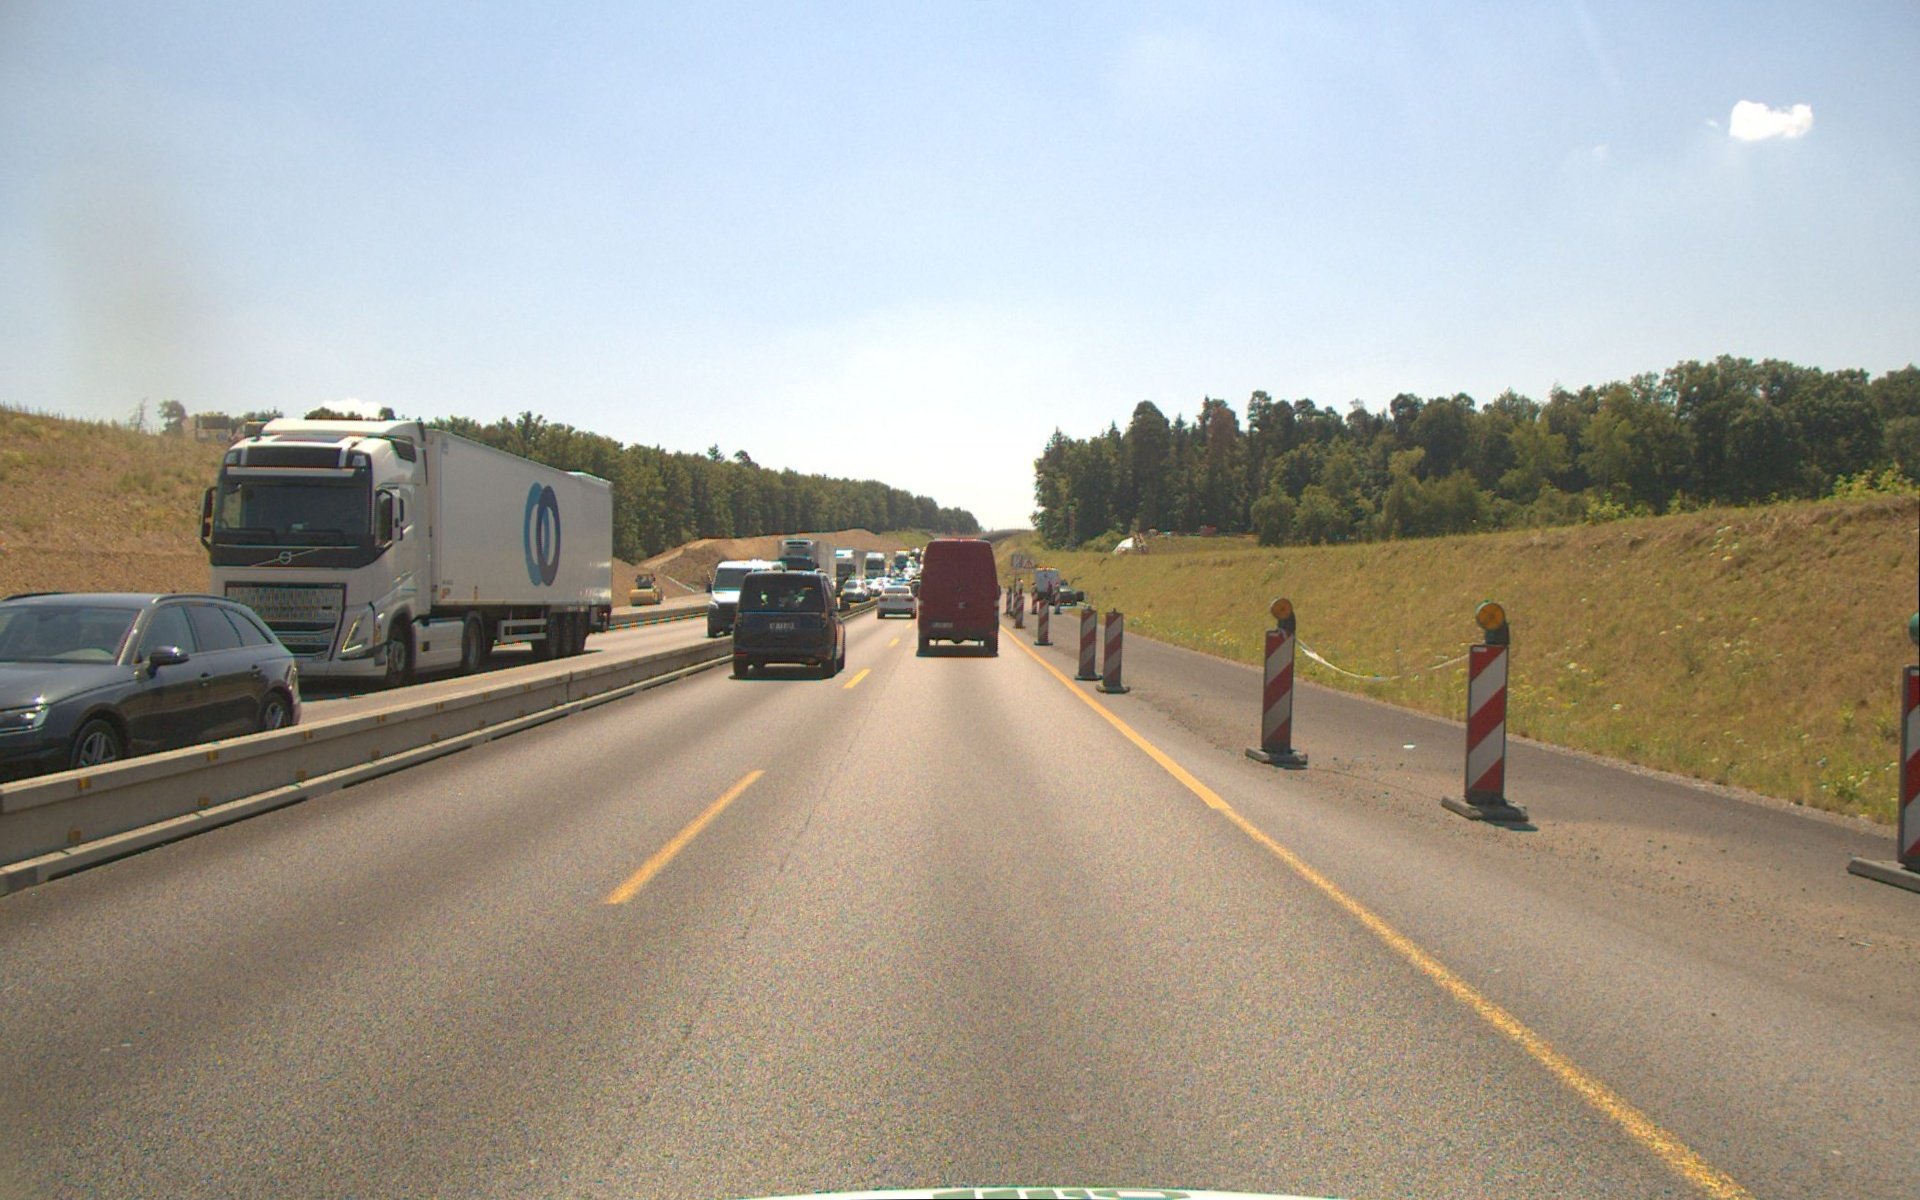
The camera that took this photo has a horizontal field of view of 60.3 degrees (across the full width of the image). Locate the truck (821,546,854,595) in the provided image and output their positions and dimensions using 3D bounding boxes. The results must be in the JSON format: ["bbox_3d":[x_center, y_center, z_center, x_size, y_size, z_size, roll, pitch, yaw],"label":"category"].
[{"bbox_3d":[-10.681,-2.548,144.051,2.539,4.124,5.149,1,1,-1],"label":"truck"}]

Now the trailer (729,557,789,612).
[{"bbox_3d":[-10.390,-0.809,85.985,2.264,2.733,6.755,-1,1,-1],"label":"trailer"}]

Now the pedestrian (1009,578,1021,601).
[{"bbox_3d":[4.387,-0.829,130.894,0.713,1.860,0.715,1,0,-20],"label":"pedestrian"}]

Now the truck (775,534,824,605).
[{"bbox_3d":[-9.905,-1.860,102.364,2.441,4.271,5.911,-1,0,-1],"label":"truck"}]

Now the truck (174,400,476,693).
[{"bbox_3d":[-9.640,-0.757,25.685,2.790,4.088,4.858,-1,0,-1],"label":"truck"}]

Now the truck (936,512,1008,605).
[{"bbox_3d":[0.686,-2.502,108.538,4.310,5.592,16.601,1,0,0],"label":"truck"}]

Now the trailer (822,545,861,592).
[{"bbox_3d":[-10.735,-2.833,151.063,2.599,4.007,13.995,1,1,0],"label":"trailer"}]

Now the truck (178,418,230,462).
[{"bbox_3d":[-63.044,-13.303,137.840,2.335,2.949,8.262,1,0,-35],"label":"truck"}]

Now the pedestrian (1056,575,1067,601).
[{"bbox_3d":[7.304,-0.850,119.586,0.613,1.860,0.640,1,1,-12],"label":"pedestrian"}]

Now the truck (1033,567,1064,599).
[{"bbox_3d":[7.209,-1.382,134.484,2.084,2.499,5.930,1,1,7],"label":"truck"}]

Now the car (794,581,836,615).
[{"bbox_3d":[-6.755,-0.086,77.387,1.654,1.528,3.976,1,0,-1],"label":"car"}]

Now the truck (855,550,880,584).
[{"bbox_3d":[-11.443,-4.091,204.833,2.712,4.114,4.943,1,0,0],"label":"truck"}]

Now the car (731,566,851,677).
[{"bbox_3d":[-3.032,0.330,30.494,1.715,1.856,4.782,1,1,0],"label":"car"}]

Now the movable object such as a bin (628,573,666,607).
[{"bbox_3d":[-30.004,-0.994,158.938,2.124,3.163,7.165,-2,1,0],"label":"movable object such as a bin"}]

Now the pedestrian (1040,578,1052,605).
[{"bbox_3d":[6.023,-0.615,115.868,0.631,1.860,0.555,1,1,-21],"label":"pedestrian"}]

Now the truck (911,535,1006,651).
[{"bbox_3d":[-0.110,-0.156,40.747,2.110,2.635,5.331,1,0,-2],"label":"truck"}]

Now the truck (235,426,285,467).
[{"bbox_3d":[-61.973,-13.527,146.331,2.276,2.797,8.795,1,0,-35],"label":"truck"}]

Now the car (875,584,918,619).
[{"bbox_3d":[-2.920,0.052,76.696,1.794,1.548,3.961,1,0,0],"label":"car"}]

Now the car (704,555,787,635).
[{"bbox_3d":[-6.645,-0.152,51.755,1.953,2.332,5.342,1,0,-1],"label":"car"}]

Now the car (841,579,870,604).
[{"bbox_3d":[-6.885,-0.553,109.280,1.654,1.642,4.593,1,0,-1],"label":"car"}]

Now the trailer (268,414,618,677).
[{"bbox_3d":[-9.649,-0.863,33.195,2.796,4.165,13.651,-1,0,0],"label":"trailer"}]

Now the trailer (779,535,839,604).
[{"bbox_3d":[-9.909,-1.963,110.054,2.451,4.252,15.534,-1,1,0],"label":"trailer"}]

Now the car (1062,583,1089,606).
[{"bbox_3d":[8.112,-0.415,116.437,1.620,1.451,4.545,-2,1,0],"label":"car"}]

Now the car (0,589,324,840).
[{"bbox_3d":[-6.296,0.664,11.918,1.820,1.467,4.499,1,0,-2],"label":"car"}]
